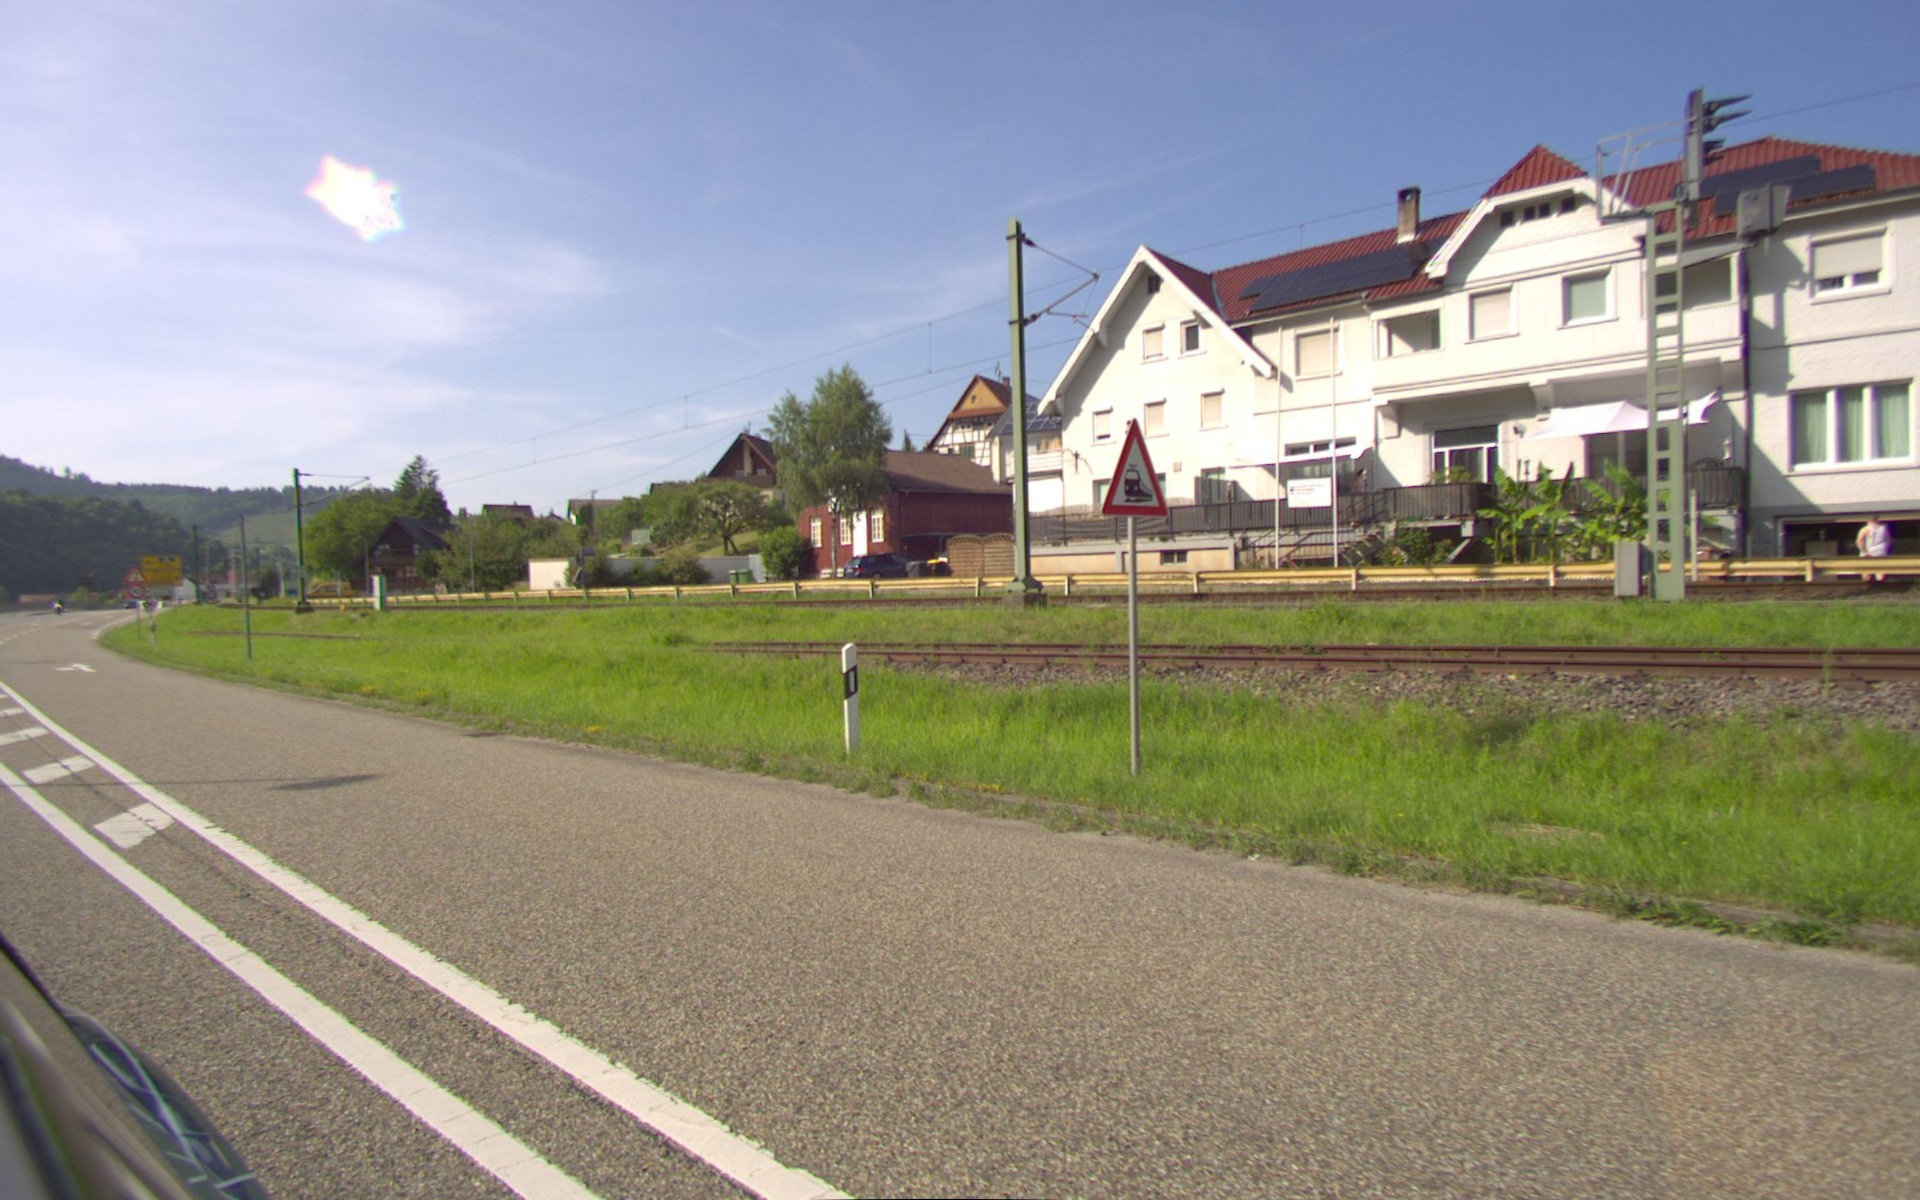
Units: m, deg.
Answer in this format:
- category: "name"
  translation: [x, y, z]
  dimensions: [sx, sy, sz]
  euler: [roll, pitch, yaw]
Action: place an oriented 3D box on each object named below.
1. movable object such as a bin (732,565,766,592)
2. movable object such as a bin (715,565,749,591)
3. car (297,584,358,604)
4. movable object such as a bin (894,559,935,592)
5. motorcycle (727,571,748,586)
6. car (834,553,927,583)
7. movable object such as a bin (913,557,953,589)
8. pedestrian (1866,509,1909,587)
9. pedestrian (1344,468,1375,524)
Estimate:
- category: "movable object such as a bin"
  translation: [-9.937, -1.026, 47.672]
  dimensions: [1.091, 1.200, 1.129]
  euler: [-1, 2, 37]
- category: "movable object such as a bin"
  translation: [-10.902, -1.066, 48.438]
  dimensions: [1.091, 1.200, 1.129]
  euler: [-1, 2, 37]
- category: "car"
  translation: [-89.879, -0.856, 144.020]
  dimensions: [6.965, 2.475, 2.958]
  euler: [-3, 1, -25]
- category: "movable object such as a bin"
  translation: [-1.767, -0.955, 39.551]
  dimensions: [1.143, 1.200, 1.078]
  euler: [-1, 2, 43]
- category: "motorcycle"
  translation: [-16.171, -1.570, 73.656]
  dimensions: [0.655, 1.000, 1.745]
  euler: [-4, 2, -43]
- category: "car"
  translation: [-3.783, -1.533, 48.444]
  dimensions: [4.039, 1.280, 1.741]
  euler: [-3, 1, -32]
- category: "movable object such as a bin"
  translation: [-1.066, -1.081, 40.469]
  dimensions: [1.143, 1.200, 1.078]
  euler: [-1, 2, 43]
- category: "pedestrian"
  translation: [19.975, -1.113, 21.800]
  dimensions: [0.608, 1.628, 0.669]
  euler: [-1, 1, 39]
- category: "pedestrian"
  translation: [12.110, -3.138, 30.696]
  dimensions: [0.677, 1.628, 0.600]
  euler: [-1, 2, 42]
